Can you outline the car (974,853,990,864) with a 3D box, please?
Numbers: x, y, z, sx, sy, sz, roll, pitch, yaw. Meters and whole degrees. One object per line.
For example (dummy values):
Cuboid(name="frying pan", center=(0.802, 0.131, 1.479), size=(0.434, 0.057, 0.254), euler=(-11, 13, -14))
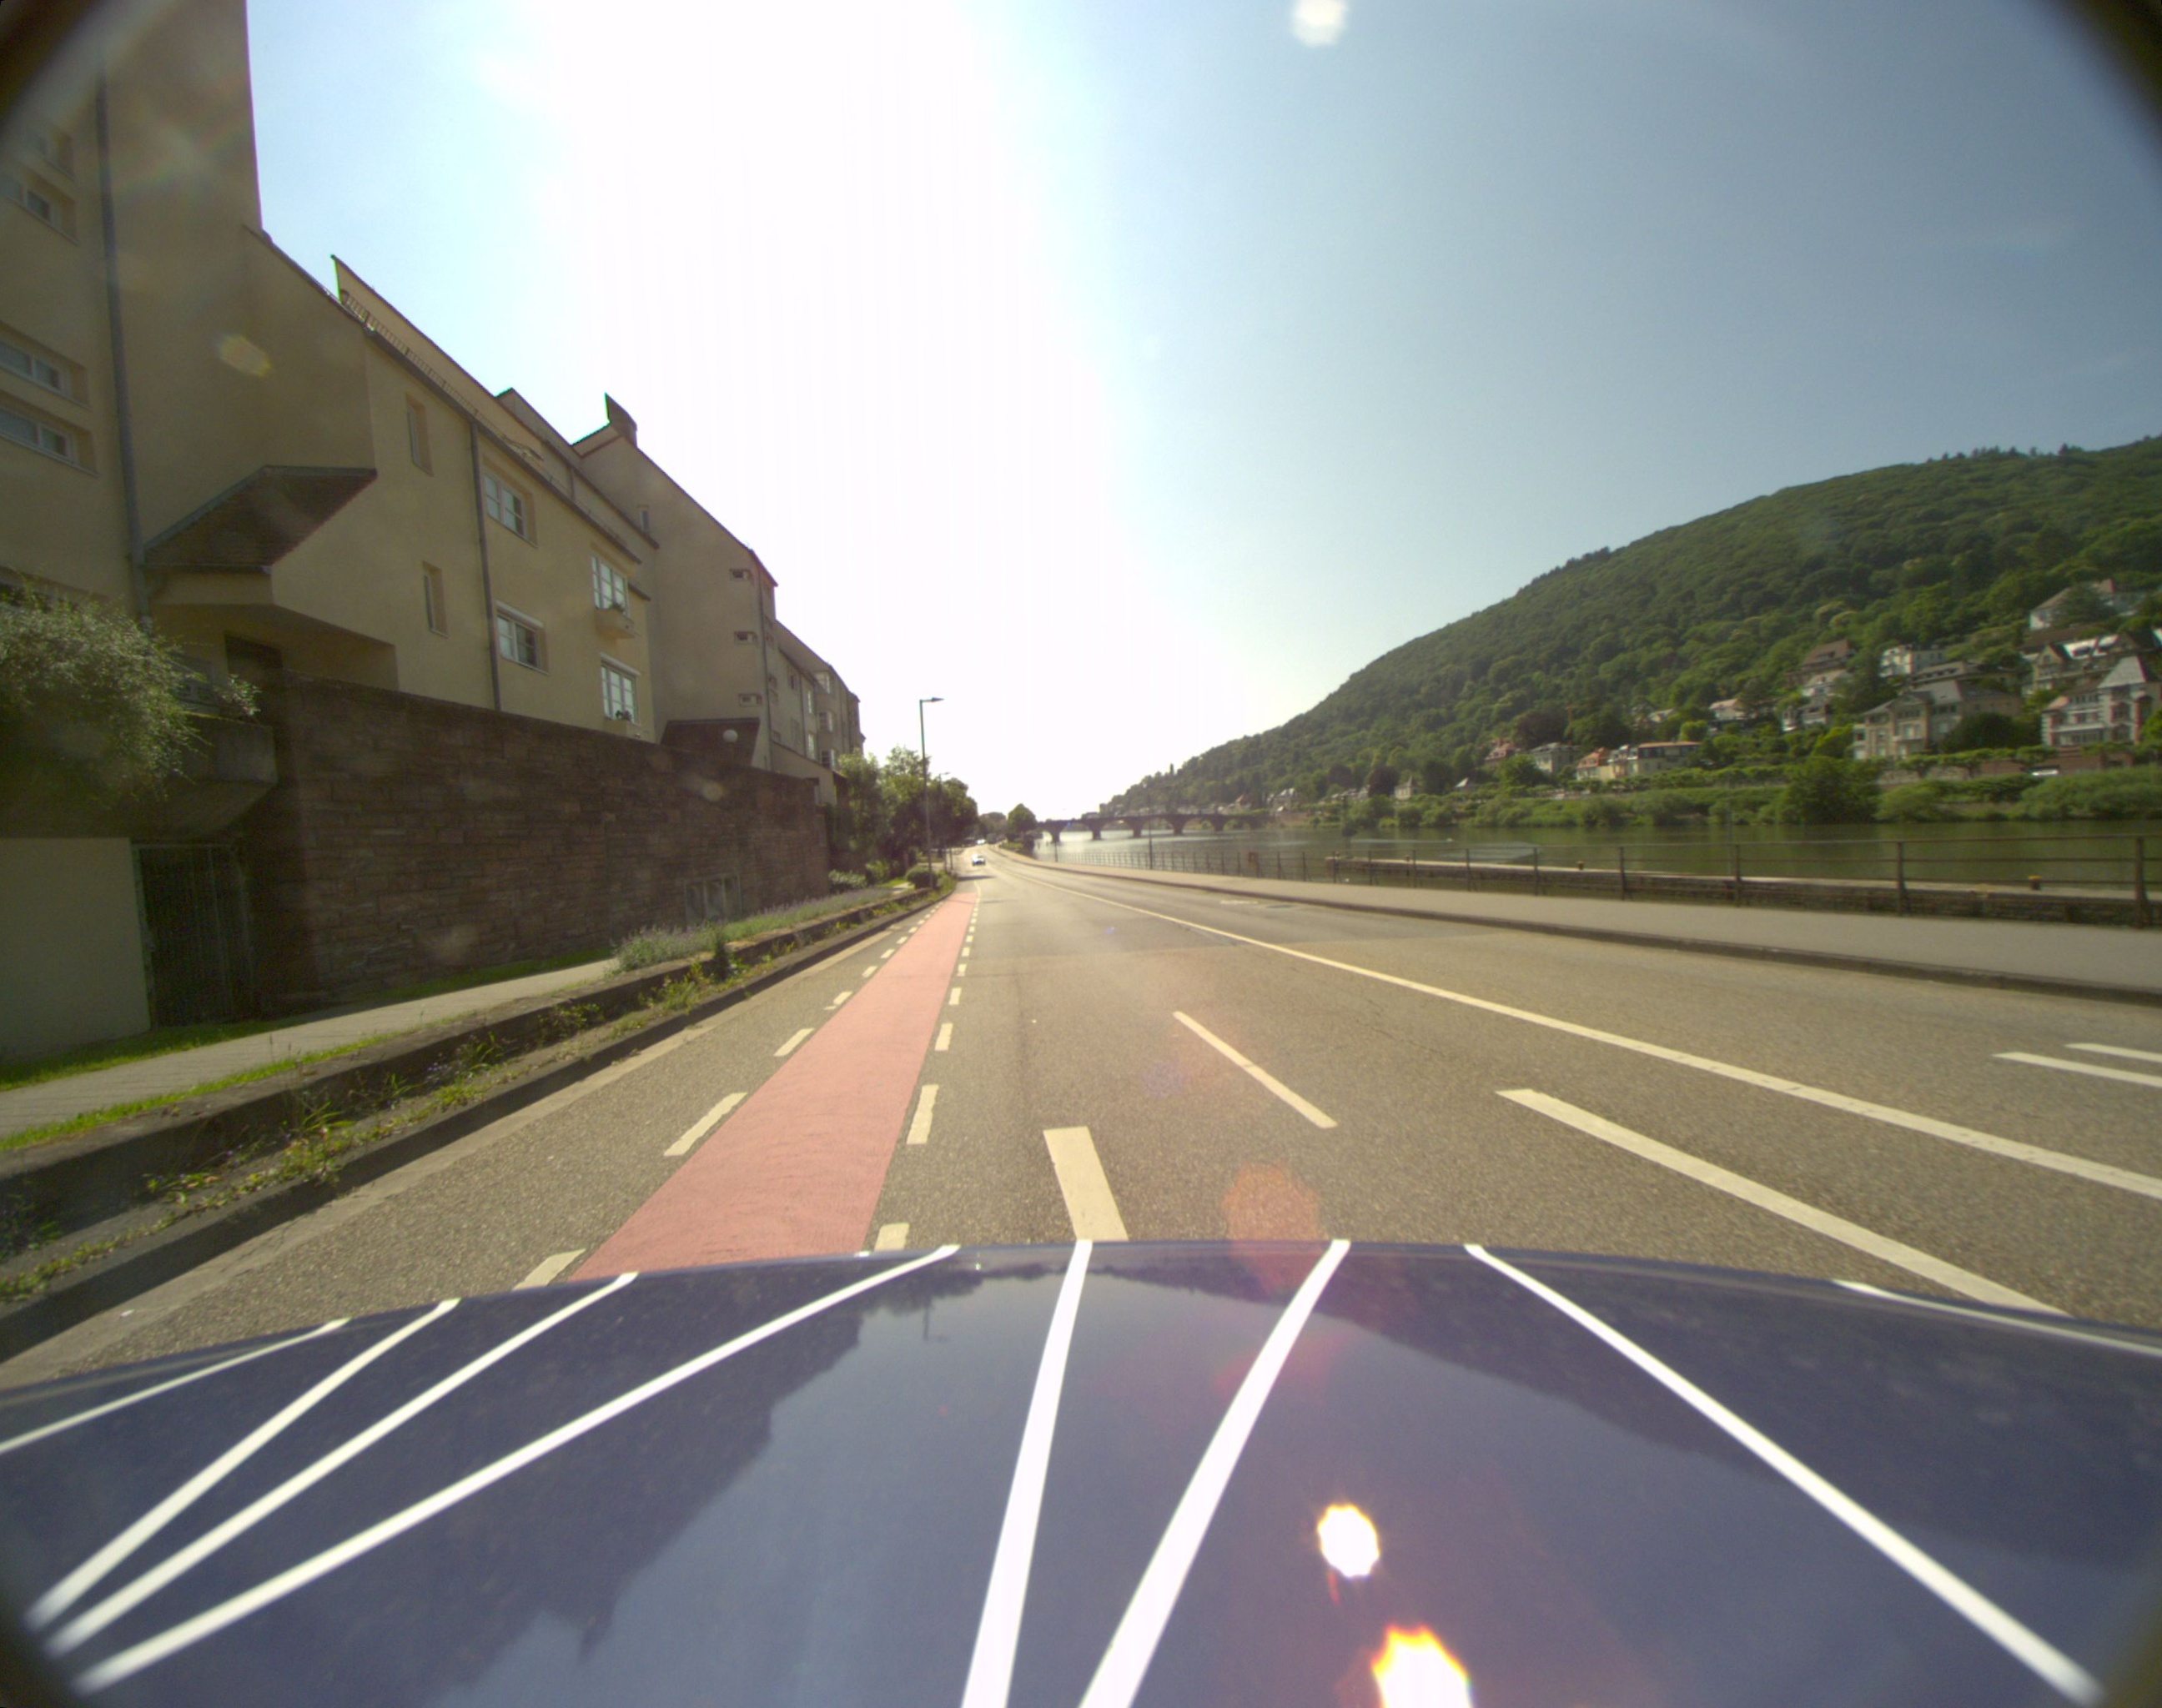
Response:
Cuboid(name="car", center=(-13.352, 0.574, 102.727), size=(2.000, 1.434, 3.997), euler=(-2, 1, -7))
